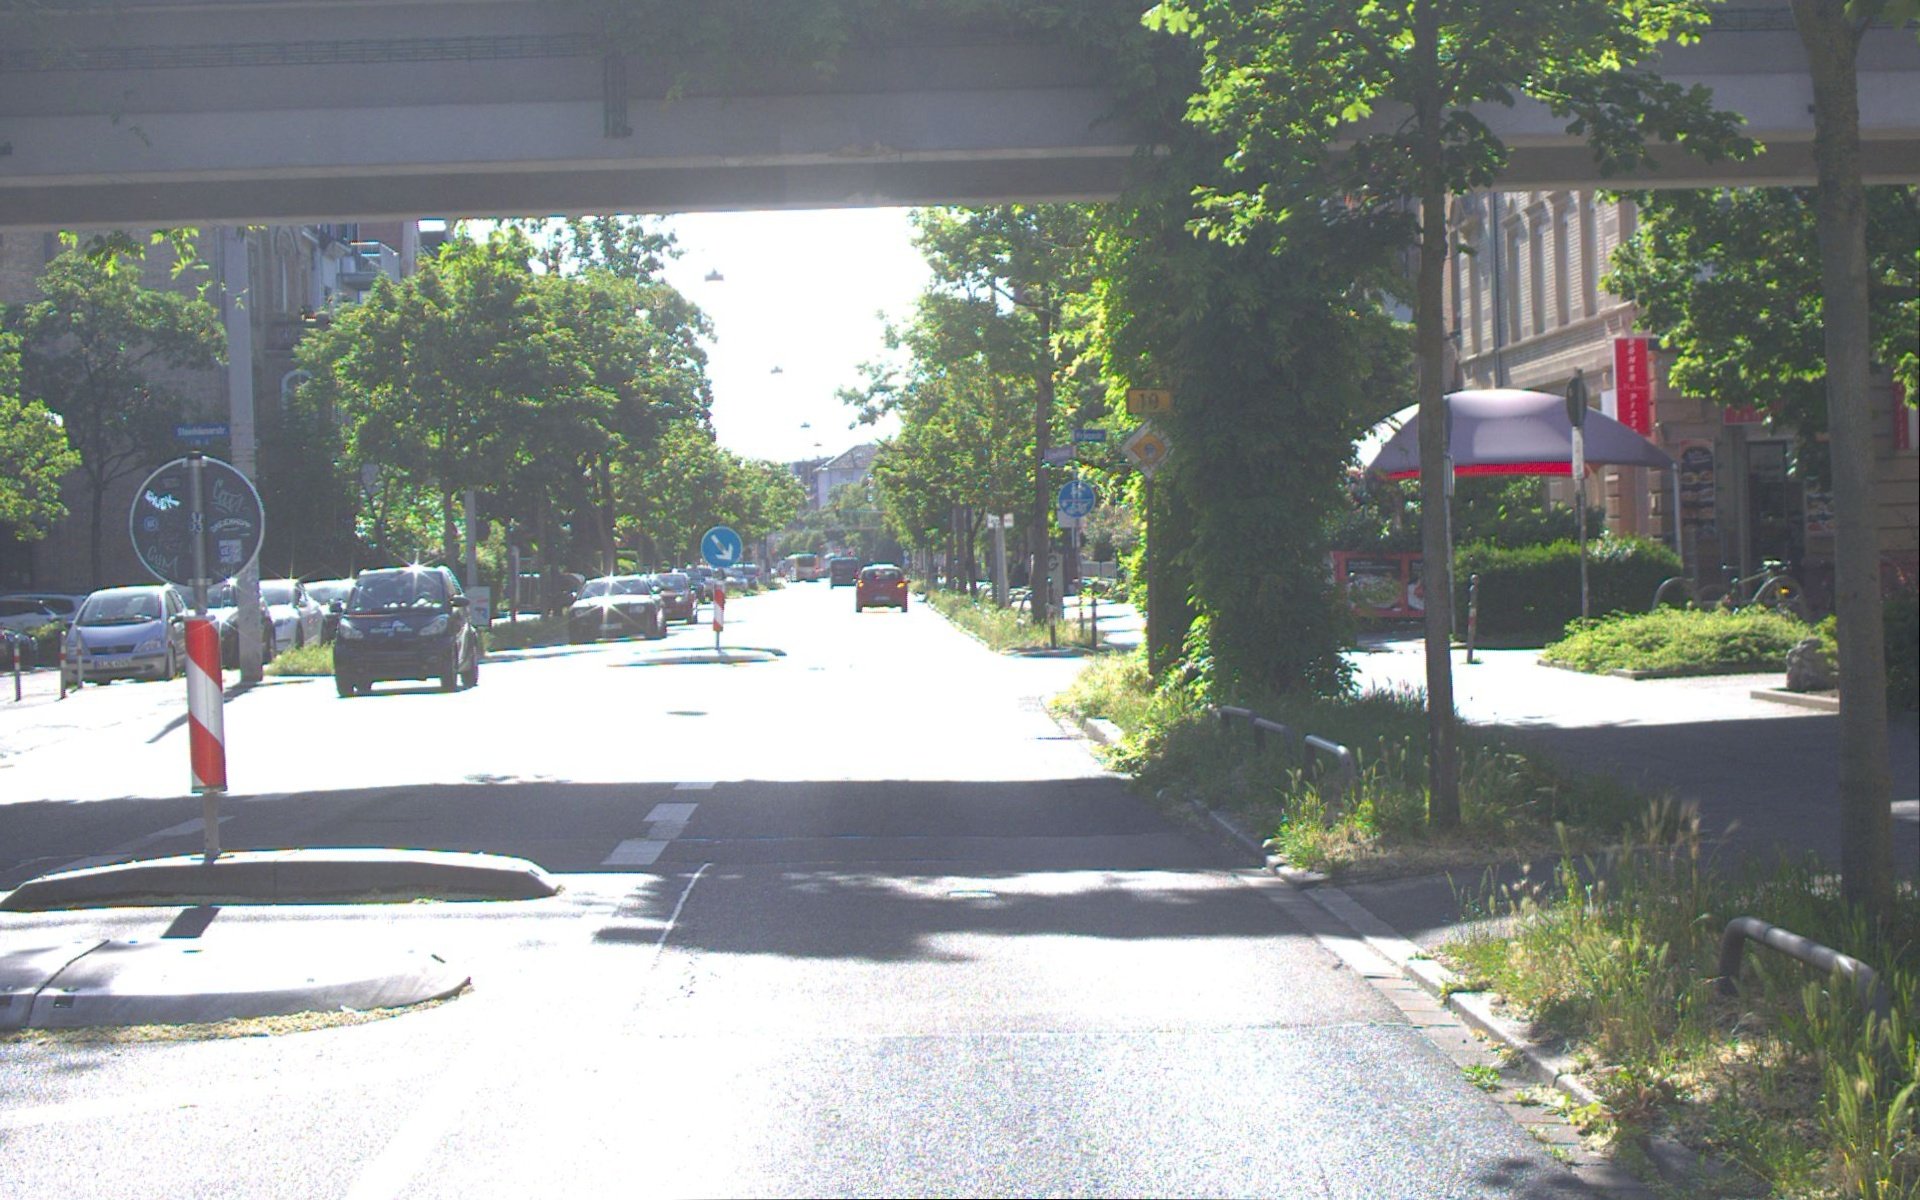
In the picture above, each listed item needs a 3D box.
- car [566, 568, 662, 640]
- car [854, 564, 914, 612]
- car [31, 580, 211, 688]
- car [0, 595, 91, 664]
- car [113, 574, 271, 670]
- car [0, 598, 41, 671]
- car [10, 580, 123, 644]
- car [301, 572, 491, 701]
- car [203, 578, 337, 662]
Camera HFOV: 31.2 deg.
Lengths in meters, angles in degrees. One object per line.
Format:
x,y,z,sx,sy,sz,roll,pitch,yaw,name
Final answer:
-7.626,0.068,76.056,1.855,1.518,4.319,0,1,-2,car
-2.454,-0.414,112.118,1.856,1.518,4.319,0,1,0,car
-12.542,0.478,51.610,1.855,1.518,4.078,0,1,-2,car
-21.831,0.681,80.830,1.855,1.518,4.319,0,1,-2,car
-12.907,0.346,58.032,1.855,1.518,4.319,0,1,-2,car
-21.634,0.741,75.585,1.855,1.518,4.319,0,1,-2,car
-22.331,0.272,86.107,1.855,1.518,4.319,0,1,-2,car
-7.090,0.418,43.597,1.855,1.518,4.319,0,1,-2,car
-13.203,0.353,65.973,1.855,1.518,4.319,0,1,-2,car
